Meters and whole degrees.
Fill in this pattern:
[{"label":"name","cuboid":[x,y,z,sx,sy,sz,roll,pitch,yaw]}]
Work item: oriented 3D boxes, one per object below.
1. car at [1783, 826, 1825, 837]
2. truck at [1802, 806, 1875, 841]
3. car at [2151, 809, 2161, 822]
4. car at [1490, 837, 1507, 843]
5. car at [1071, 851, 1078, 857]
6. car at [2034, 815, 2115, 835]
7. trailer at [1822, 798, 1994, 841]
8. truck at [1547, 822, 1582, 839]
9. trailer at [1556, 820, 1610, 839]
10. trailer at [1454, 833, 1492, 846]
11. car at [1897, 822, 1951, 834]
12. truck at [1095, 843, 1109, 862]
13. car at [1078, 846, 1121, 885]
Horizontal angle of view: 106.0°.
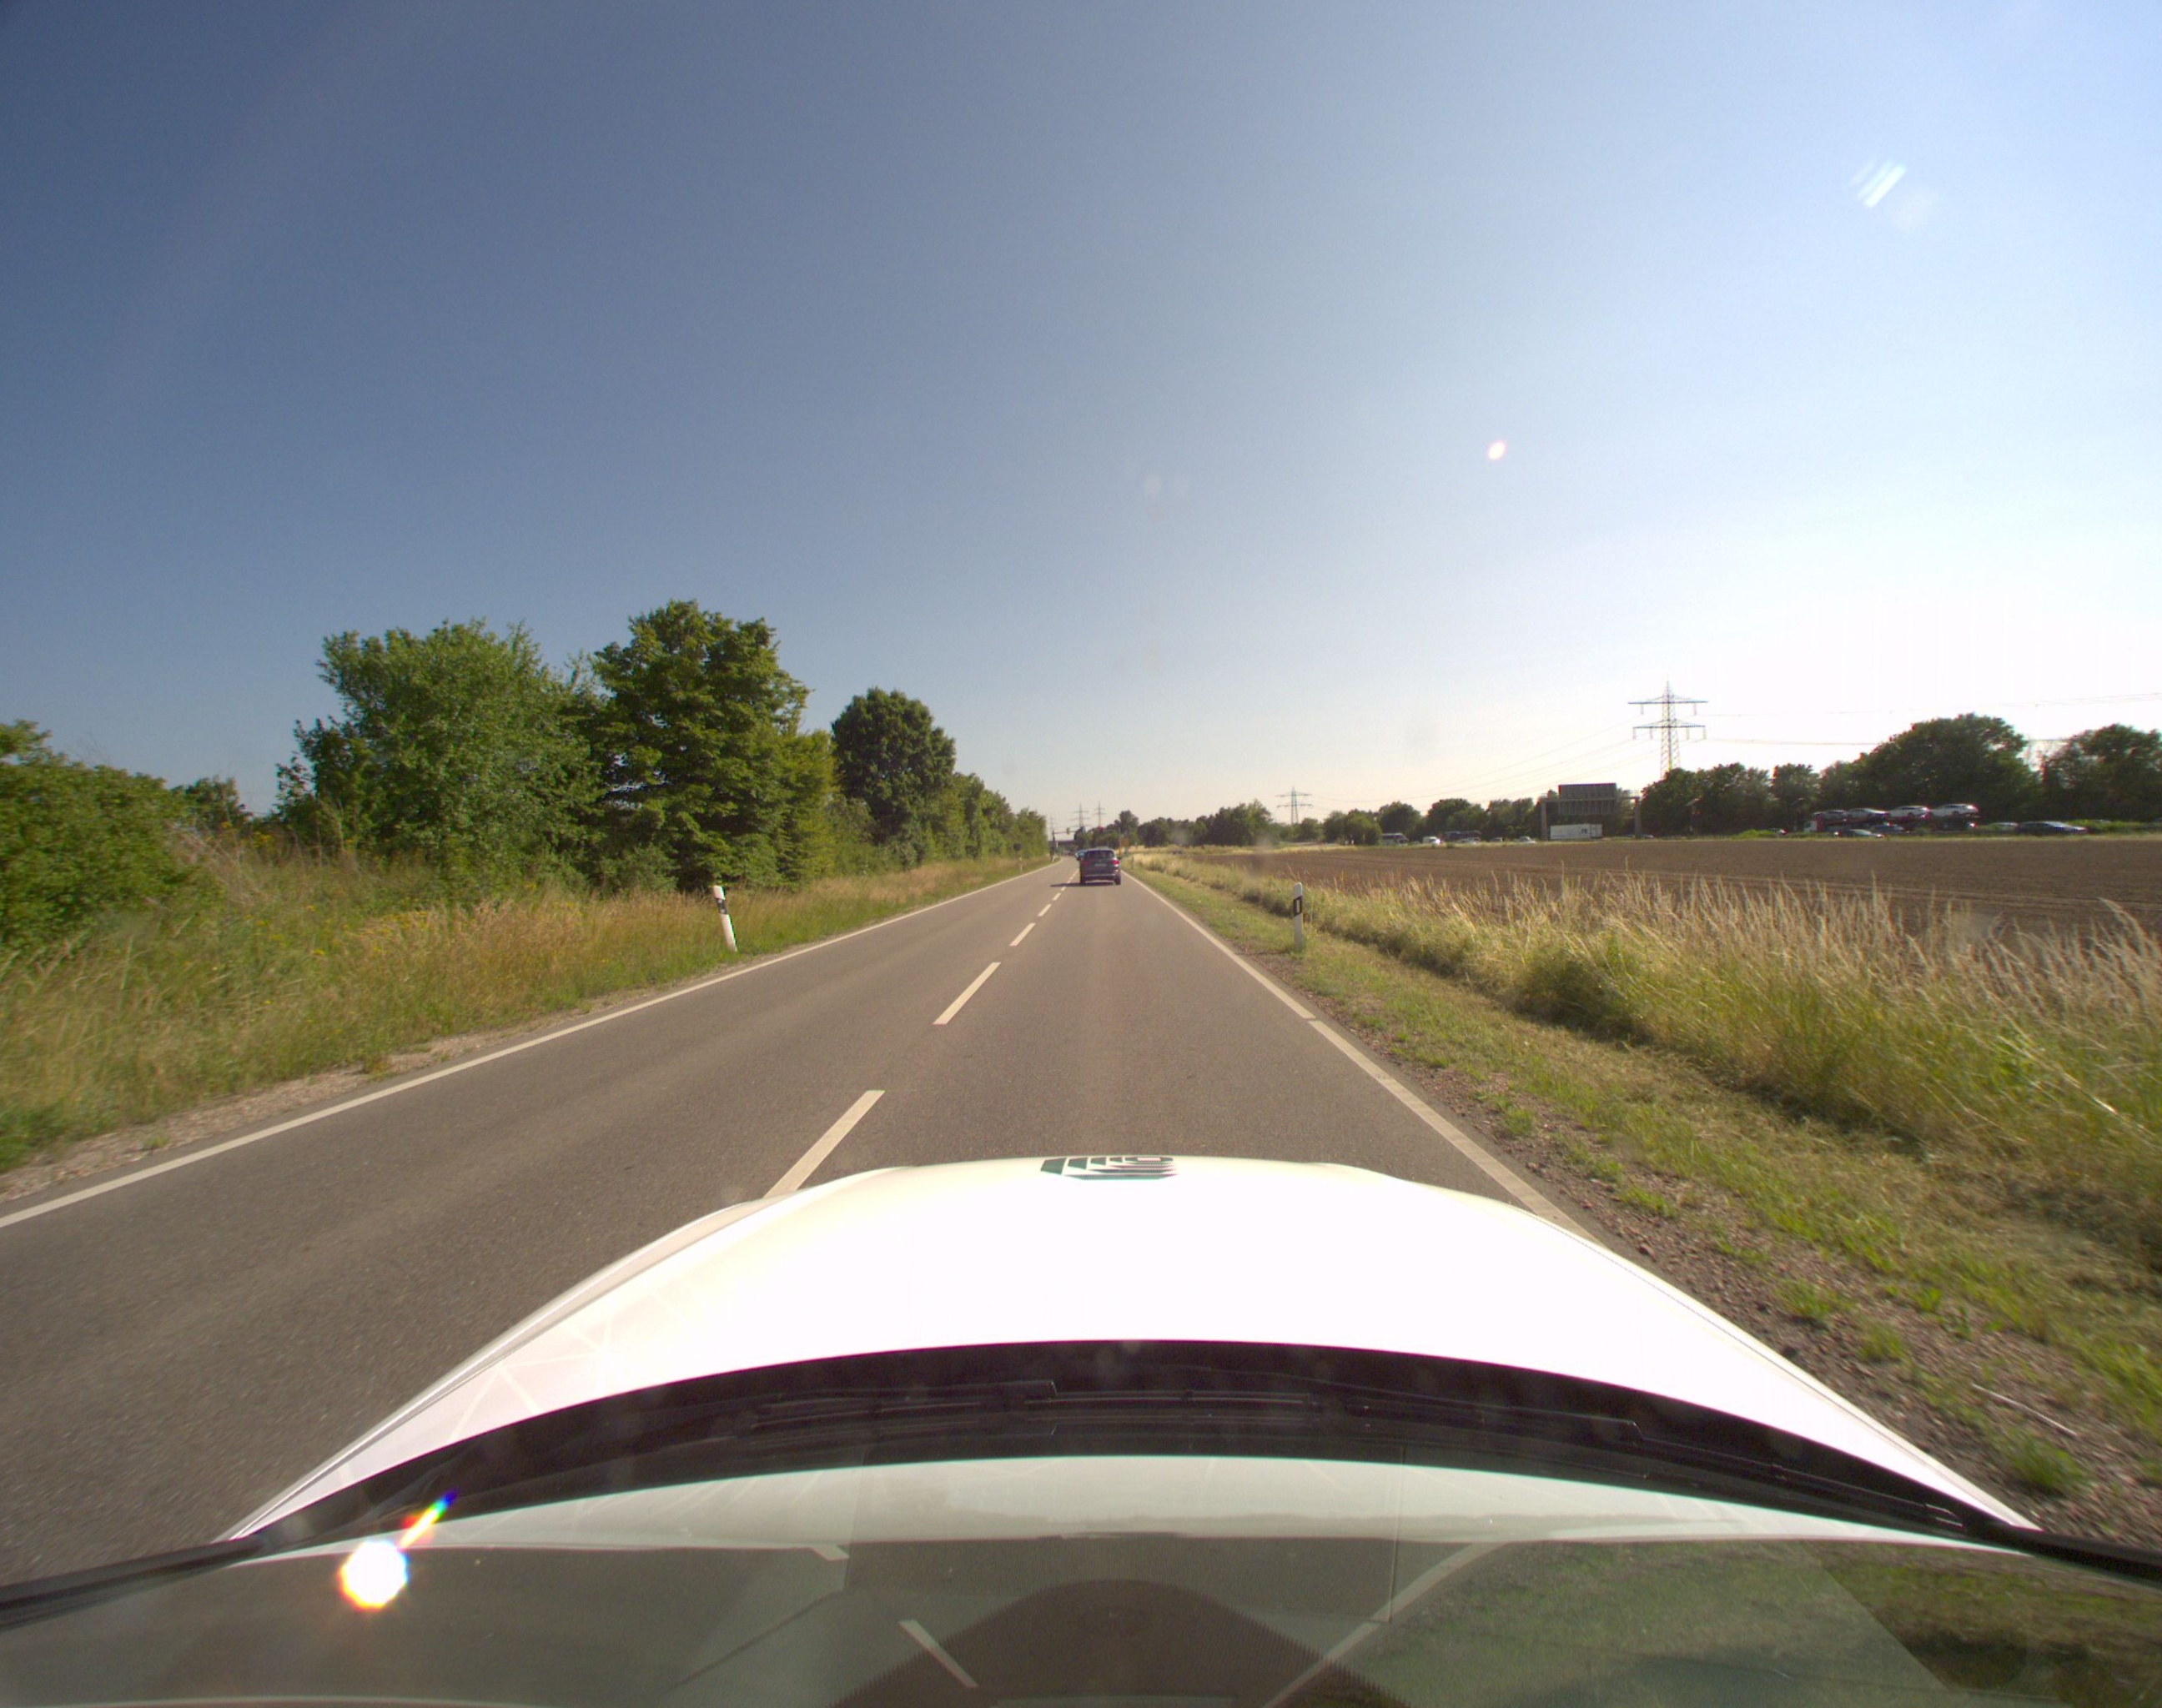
[{"label":"car","cuboid":[96.573,-2.939,108.823,1.844,1.385,4.248,-1,1,1]},{"label":"truck","cuboid":[102.675,-4.085,110.529,3.411,4.452,6.703,-2,0,-1]},{"label":"car","cuboid":[96.300,-3.394,70.986,1.389,1.151,3.583,-1,1,1]},{"label":"car","cuboid":[97.411,-3.198,190.177,1.844,1.385,4.248,-1,1,1]},{"label":"car","cuboid":[-1.637,-0.003,206.242,1.680,1.380,3.530,-1,0,-2]},{"label":"car","cuboid":[88.274,-2.533,72.424,1.898,1.612,4.476,0,0,3]},{"label":"trailer","cuboid":[102.822,-4.091,102.180,3.411,4.452,17.556,-2,0,-1]},{"label":"truck","cuboid":[103.536,-4.984,174.656,3.274,3.267,6.977,-3,0,0]},{"label":"trailer","cuboid":[103.590,-4.985,168.279,3.274,3.267,12.453,-3,0,0]},{"label":"trailer","cuboid":[101.941,-3.748,212.125,3.274,3.267,13.451,-2,1,0]},{"label":"car","cuboid":[96.617,-2.964,93.353,1.844,1.385,4.248,-1,1,1]},{"label":"truck","cuboid":[3.496,-0.262,135.864,2.328,3.066,5.812,-1,0,2]},{"label":"car","cuboid":[0.793,0.473,36.450,1.779,1.629,4.000,-2,0,1]}]
